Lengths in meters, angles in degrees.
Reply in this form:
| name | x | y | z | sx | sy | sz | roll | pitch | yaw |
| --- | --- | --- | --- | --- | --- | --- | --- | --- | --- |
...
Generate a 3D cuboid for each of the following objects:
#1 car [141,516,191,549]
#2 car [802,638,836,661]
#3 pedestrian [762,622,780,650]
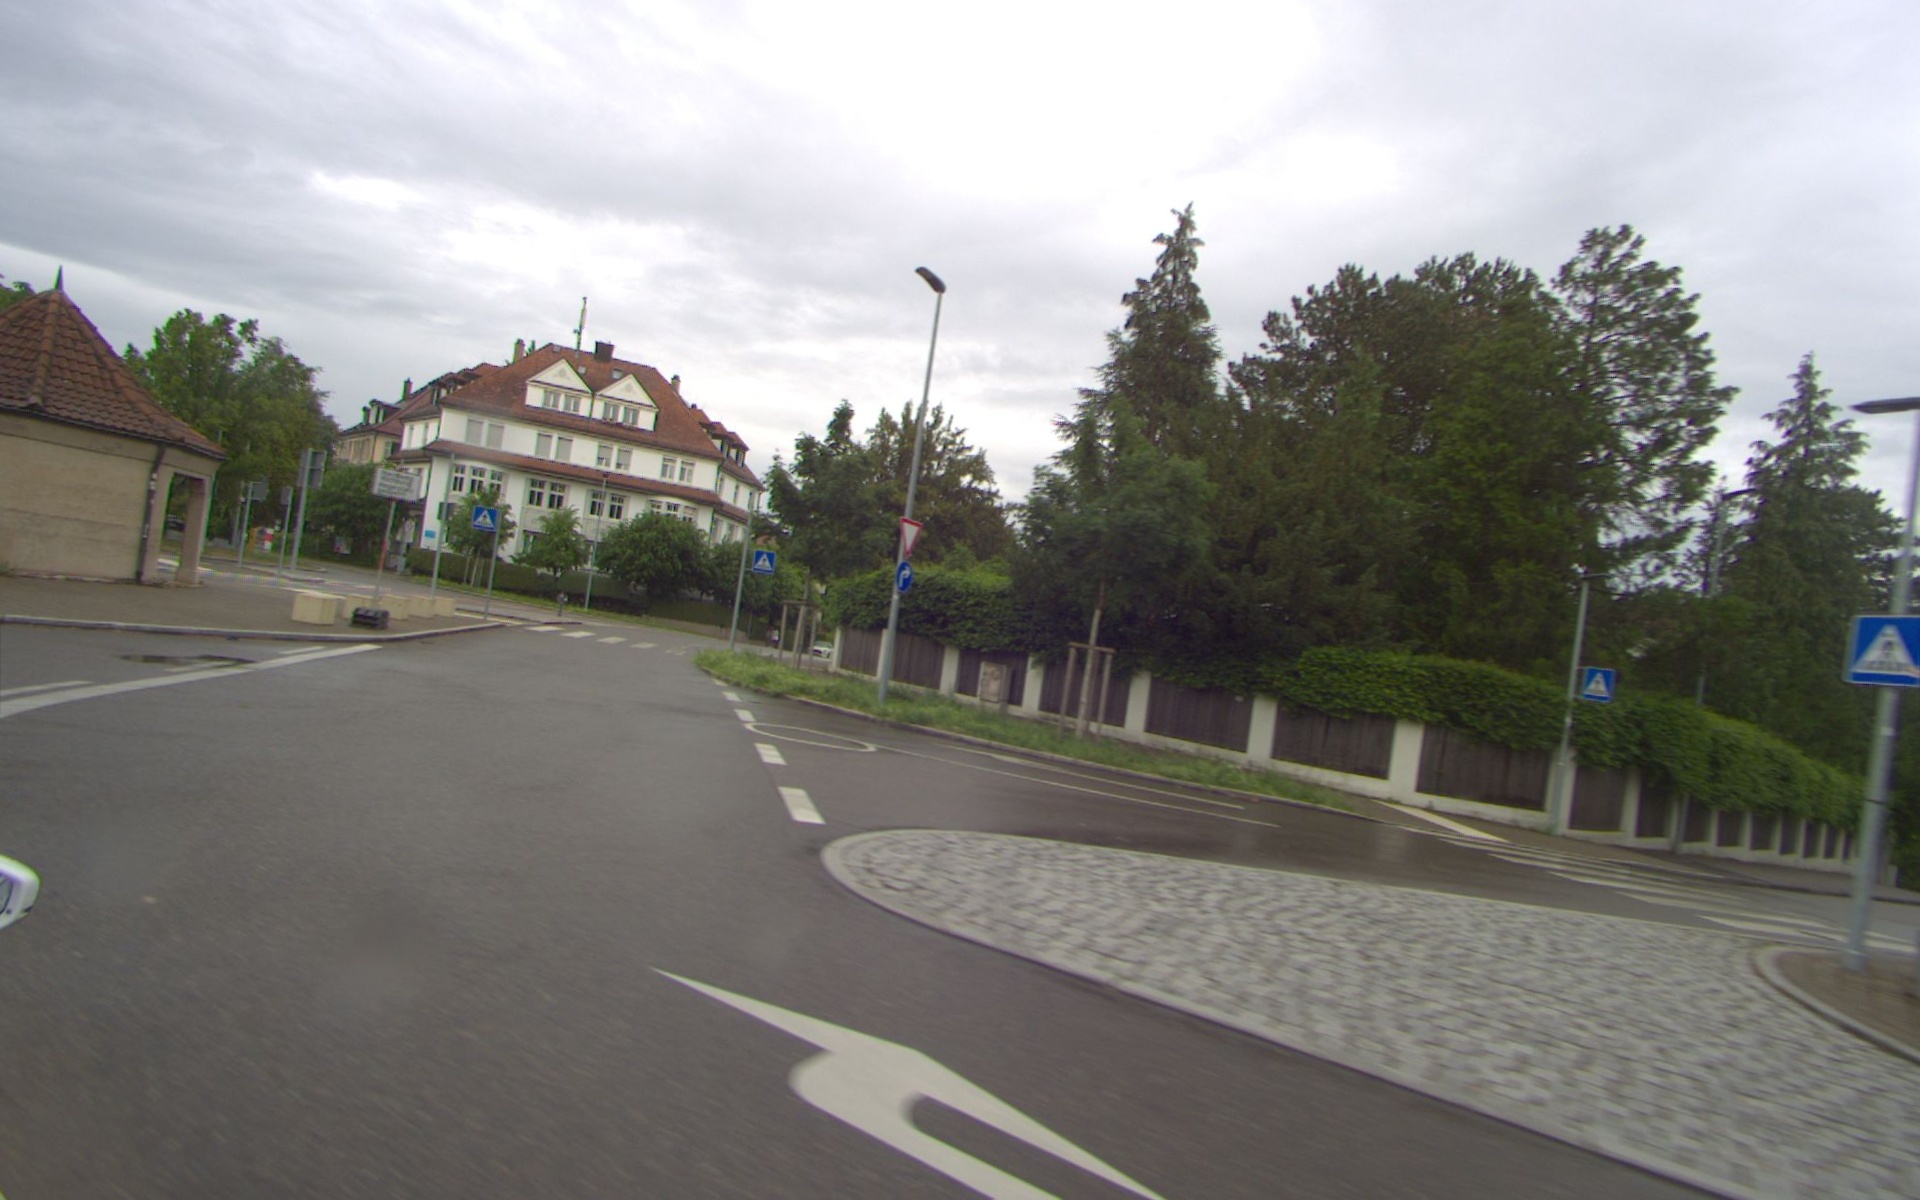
| name | x | y | z | sx | sy | sz | roll | pitch | yaw |
| --- | --- | --- | --- | --- | --- | --- | --- | --- | --- |
| car | -62.145 | -5.264 | 78.689 | 3.940 | 2.037 | 1.995 | 7 | -2 | 38 |
| car | -11.227 | 4.006 | 80.440 | 1.963 | 1.495 | 4.005 | 8 | -3 | 0 |
| pedestrian | -13.512 | 2.553 | 71.998 | 0.806 | 1.857 | 0.696 | 7 | -3 | 15 |
